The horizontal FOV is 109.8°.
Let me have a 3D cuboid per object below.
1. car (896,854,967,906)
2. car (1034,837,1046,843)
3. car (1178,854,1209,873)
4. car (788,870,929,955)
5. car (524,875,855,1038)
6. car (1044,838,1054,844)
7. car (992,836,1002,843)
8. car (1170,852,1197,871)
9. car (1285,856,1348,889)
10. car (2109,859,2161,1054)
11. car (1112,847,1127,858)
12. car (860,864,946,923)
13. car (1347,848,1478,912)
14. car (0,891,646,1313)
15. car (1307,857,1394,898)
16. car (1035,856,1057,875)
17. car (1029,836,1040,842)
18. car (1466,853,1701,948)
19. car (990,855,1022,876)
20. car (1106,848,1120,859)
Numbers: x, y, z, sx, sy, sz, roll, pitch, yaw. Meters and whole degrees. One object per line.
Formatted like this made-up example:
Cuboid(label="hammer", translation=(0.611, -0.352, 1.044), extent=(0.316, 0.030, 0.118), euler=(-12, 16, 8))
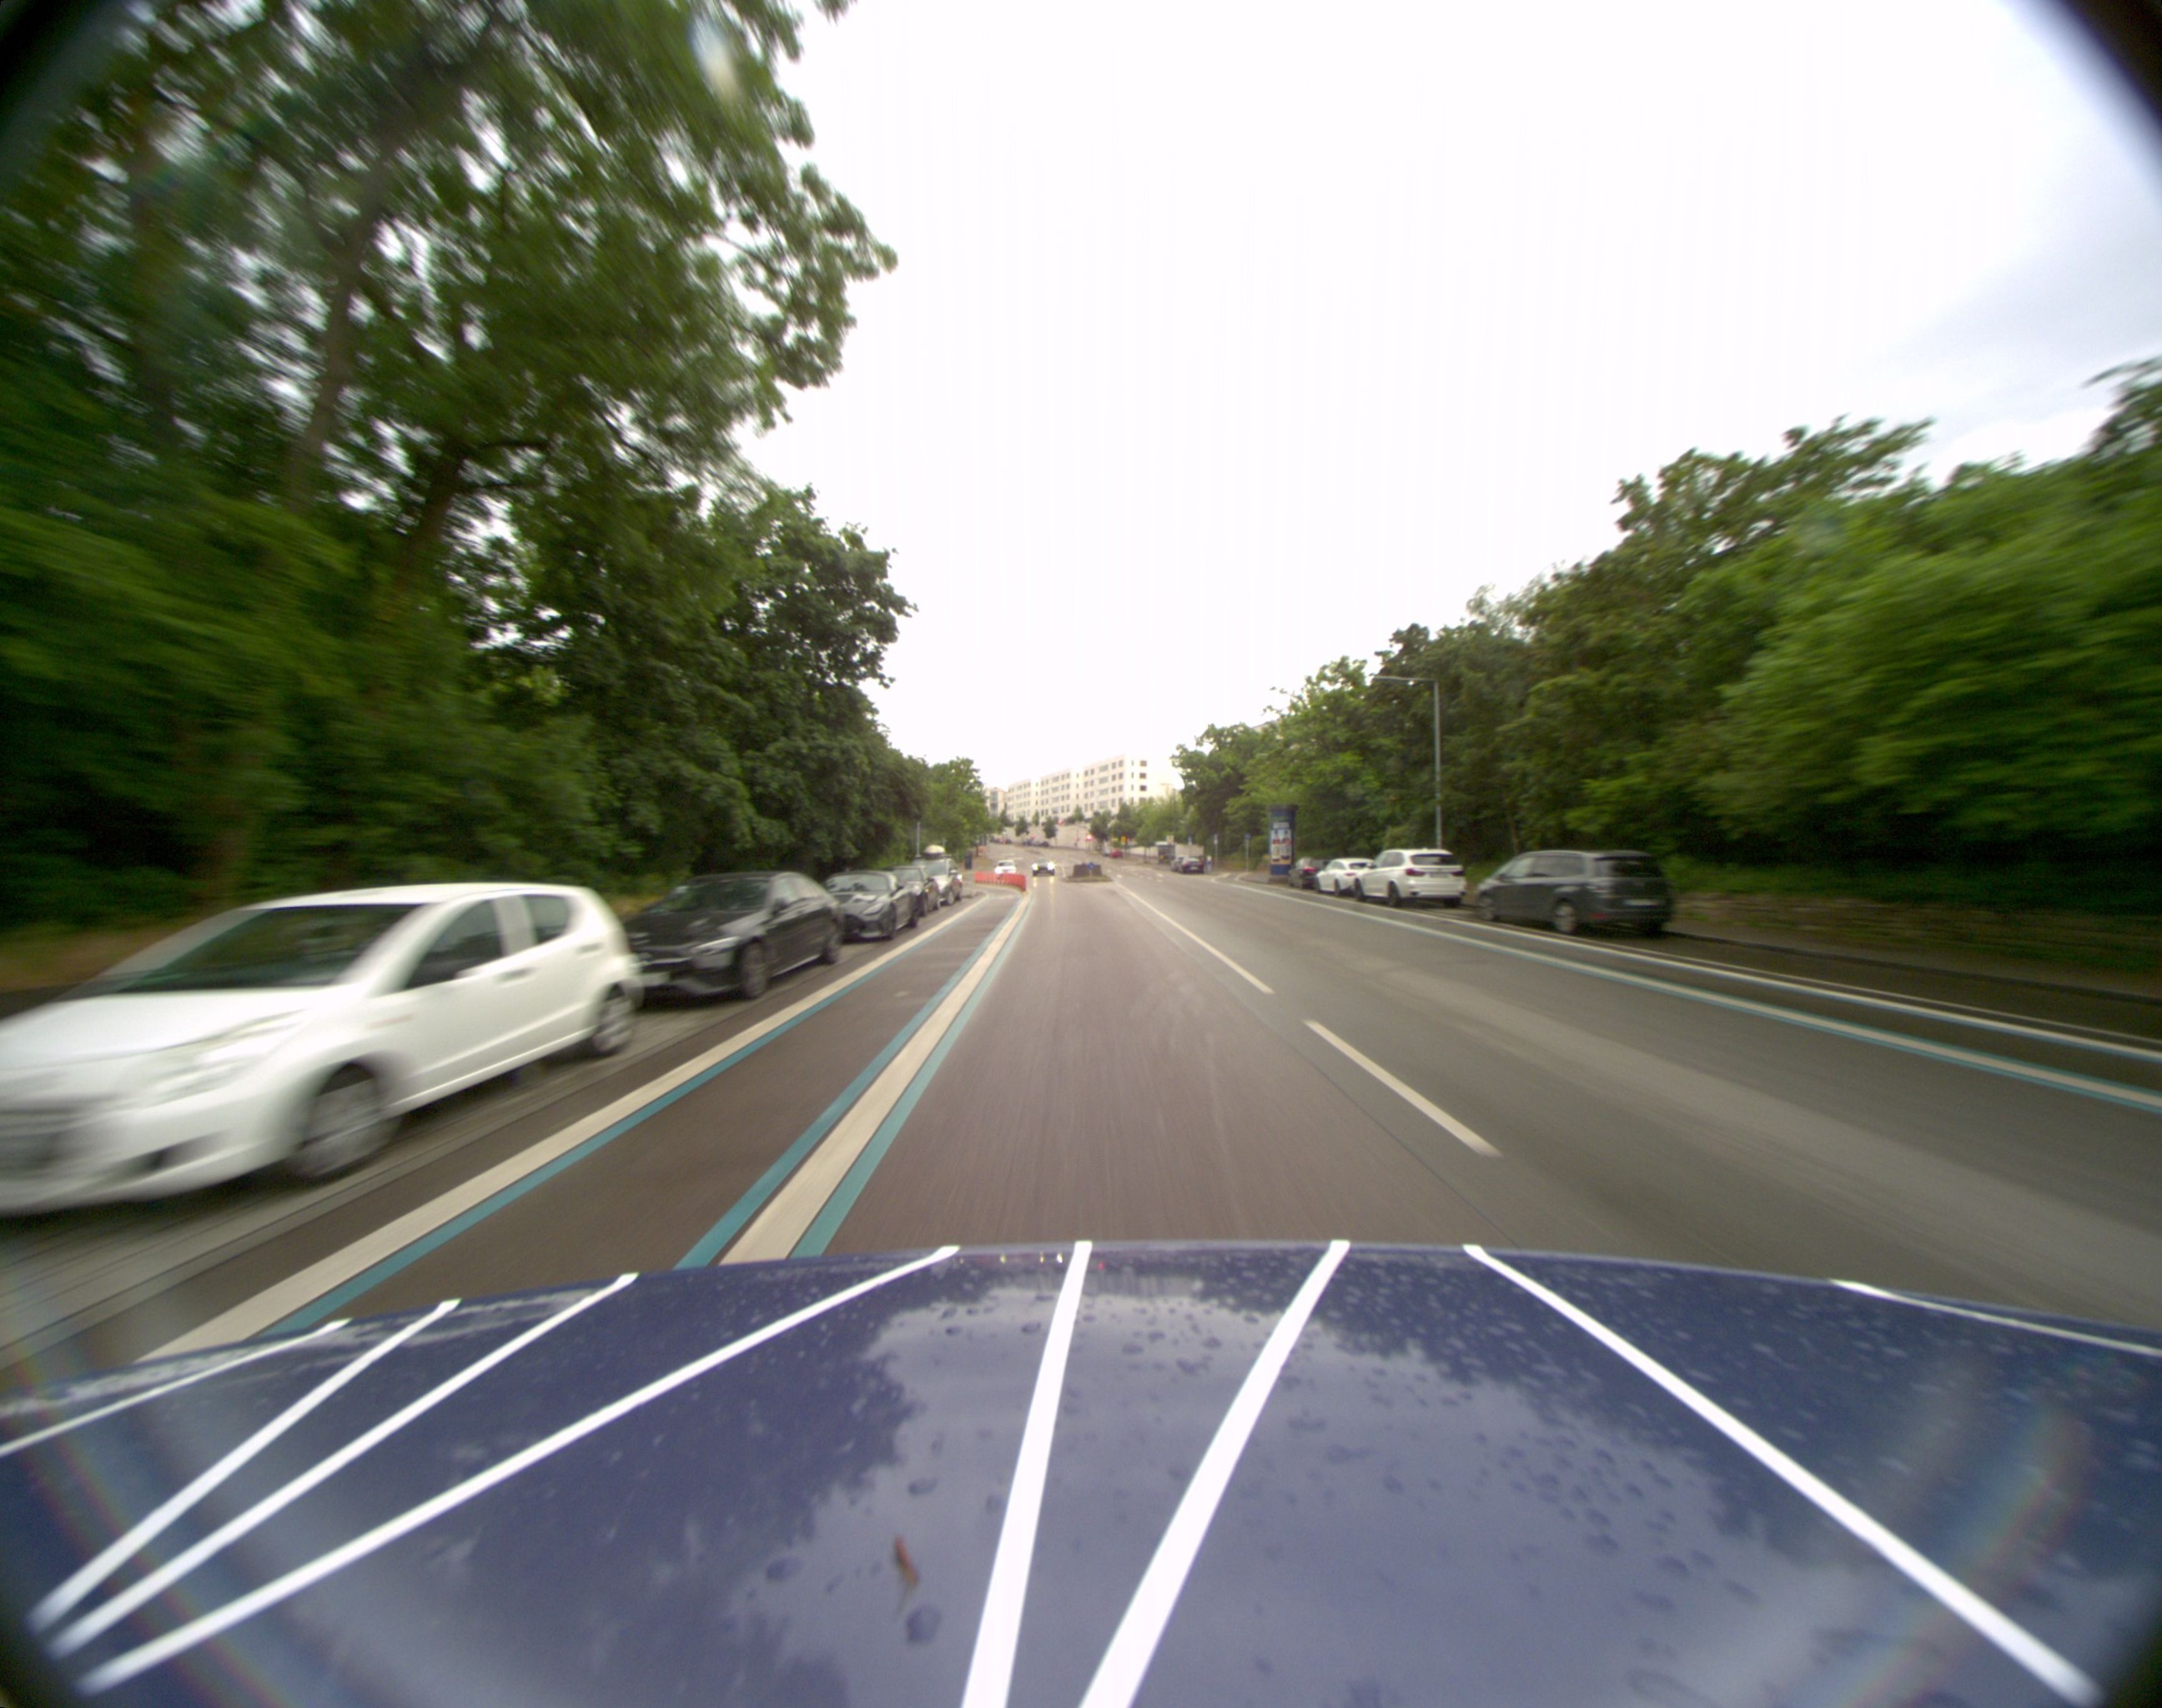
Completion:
Cuboid(label="car", translation=(-5.175, 0.846, 26.813), extent=(1.827, 1.605, 4.250), euler=(-2, 0, -3))
Cuboid(label="car", translation=(-10.850, -3.779, 201.522), extent=(1.866, 1.470, 3.990), euler=(-1, 2, -24))
Cuboid(label="car", translation=(9.440, 0.743, 64.102), extent=(1.911, 1.406, 4.782), euler=(-2, 1, 1))
Cuboid(label="car", translation=(-4.500, 1.114, 16.100), extent=(1.858, 1.391, 4.384), euler=(-2, 0, -3))
Cuboid(label="car", translation=(-4.612, 1.094, 9.963), extent=(1.861, 1.446, 4.750), euler=(-2, 0, 0))
Cuboid(label="car", translation=(-8.311, -3.381, 196.415), extent=(1.683, 1.451, 2.689), euler=(0, 2, -25))
Cuboid(label="car", translation=(-26.540, -4.593, 239.376), extent=(1.927, 2.002, 4.377), euler=(-1, 1, -21))
Cuboid(label="car", translation=(9.492, 0.680, 70.655), extent=(1.845, 1.580, 4.928), euler=(-2, 1, 1))
Cuboid(label="car", translation=(10.882, 0.810, 35.439), extent=(1.753, 1.436, 4.588), euler=(-1, 0, 4))
Cuboid(label="car", translation=(9.836, 0.852, 4.331), extent=(1.923, 1.607, 4.490), euler=(0, 0, 2))
Cuboid(label="car", translation=(6.356, -0.265, 125.775), extent=(1.670, 1.578, 4.212), euler=(0, 2, -7))
Cuboid(label="car", translation=(-4.997, 1.068, 21.766), extent=(1.701, 1.404, 3.702), euler=(-3, 0, -3))
Cuboid(label="car", translation=(10.215, 0.722, 23.905), extent=(1.998, 1.755, 4.960), euler=(-1, 0, 1))
Cuboid(label="car", translation=(-4.567, 1.073, 4.787), extent=(1.564, 1.452, 3.675), euler=(-2, 0, -2))
Cuboid(label="car", translation=(10.377, 0.851, 29.640), extent=(1.723, 1.451, 4.708), euler=(-1, 0, 0))
Cuboid(label="car", translation=(-3.315, 1.076, 71.069), extent=(1.830, 1.584, 3.997), euler=(-2, 1, -5))
Cuboid(label="car", translation=(-12.556, -3.991, 205.769), extent=(1.792, 1.623, 3.990), euler=(0, 2, -24))
Cuboid(label="car", translation=(10.076, 0.824, 15.751), extent=(1.736, 1.639, 4.570), euler=(-1, 0, -2))
Cuboid(label="car", translation=(-6.352, 0.958, 63.886), extent=(1.930, 1.652, 3.994), euler=(-1, 0, -17))
Cuboid(label="car", translation=(5.523, -0.102, 131.681), extent=(1.769, 1.644, 4.878), euler=(-2, 2, -7))
